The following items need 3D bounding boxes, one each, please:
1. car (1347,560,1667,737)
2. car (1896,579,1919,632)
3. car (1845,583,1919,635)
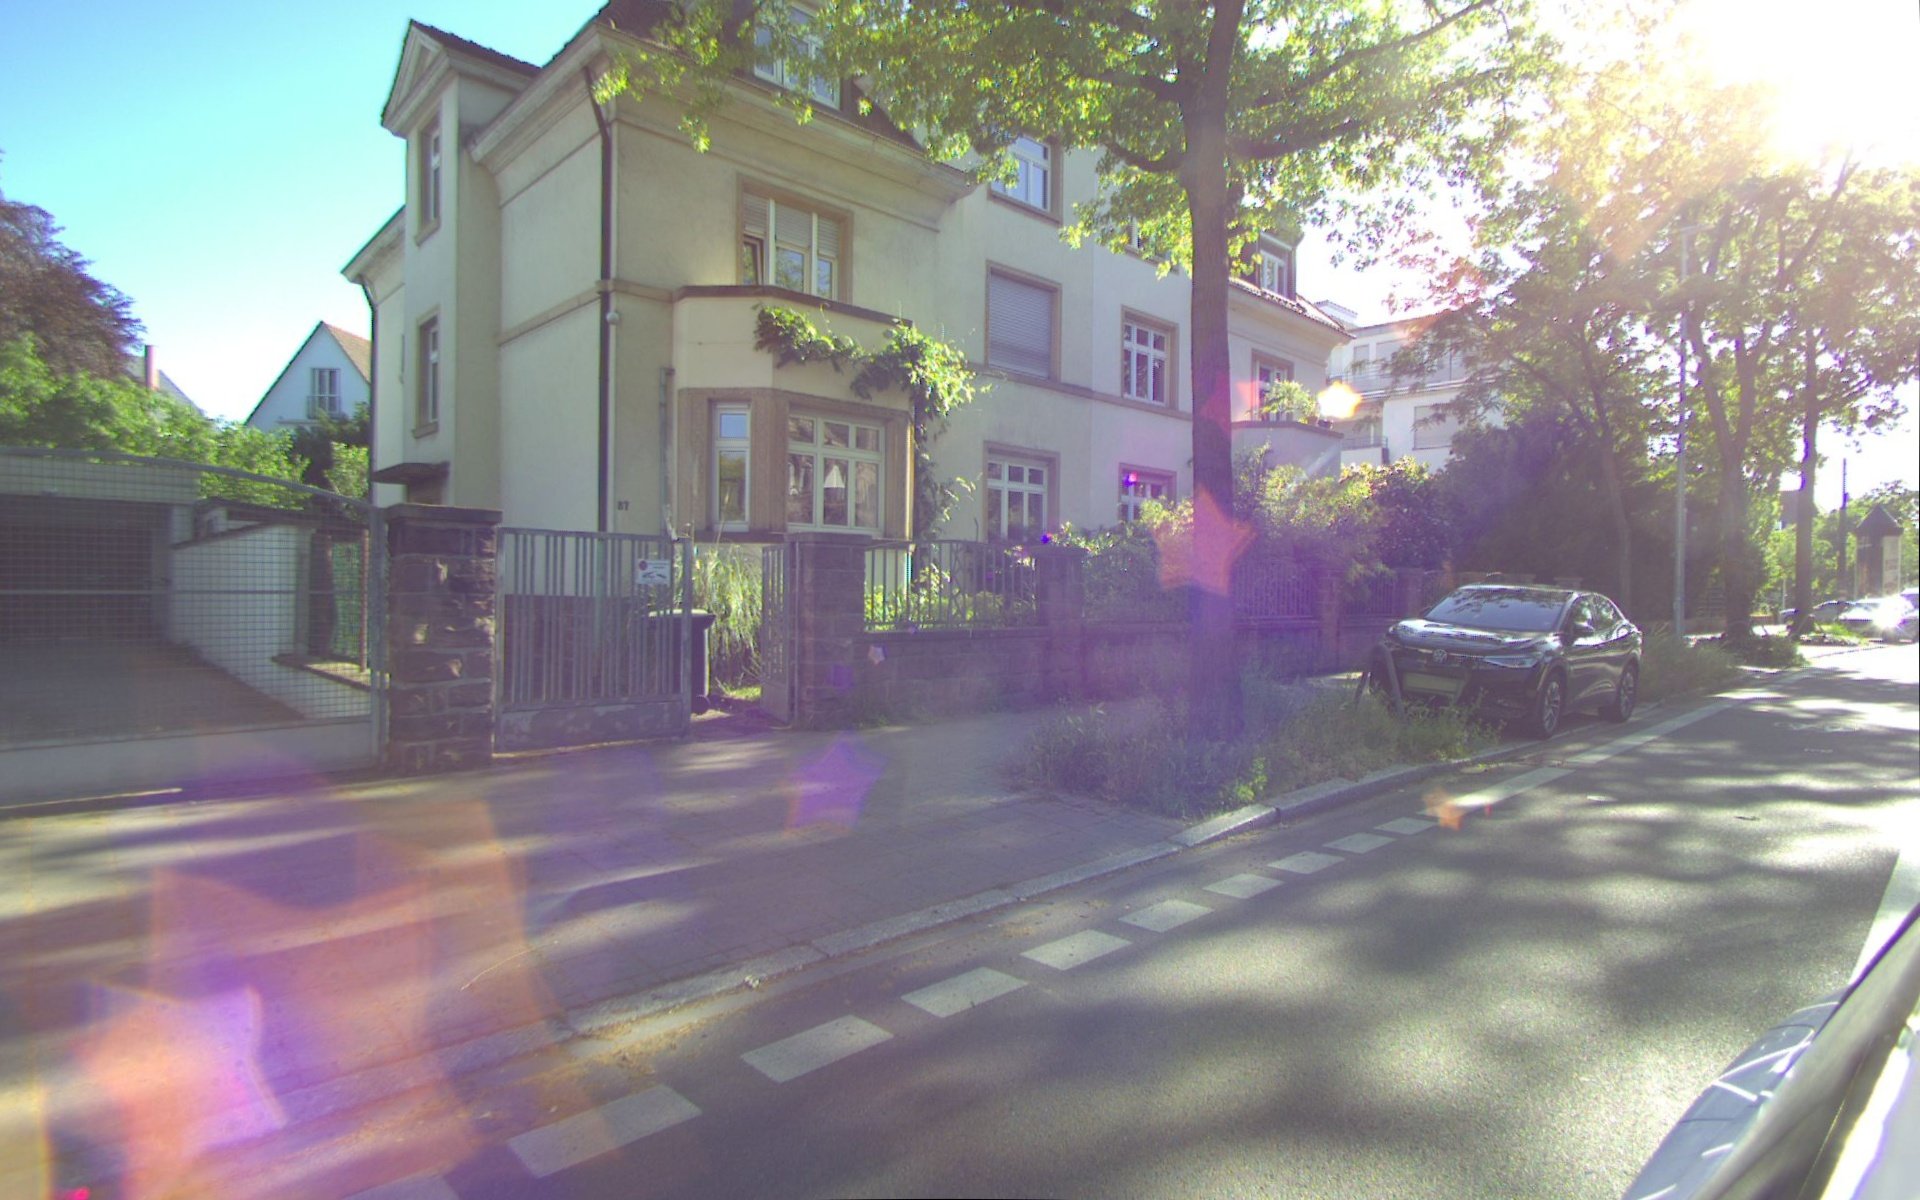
[{"bbox_3d":[6.706,0.485,12.204,4.304,1.695,1.997,1,2,-42],"label":"car"},{"bbox_3d":[36.858,0.200,37.924,4.663,1.919,2.128,0,1,-41],"label":"car"},{"bbox_3d":[31.513,0.262,34.109,3.927,1.660,1.824,0,1,-38],"label":"car"}]
